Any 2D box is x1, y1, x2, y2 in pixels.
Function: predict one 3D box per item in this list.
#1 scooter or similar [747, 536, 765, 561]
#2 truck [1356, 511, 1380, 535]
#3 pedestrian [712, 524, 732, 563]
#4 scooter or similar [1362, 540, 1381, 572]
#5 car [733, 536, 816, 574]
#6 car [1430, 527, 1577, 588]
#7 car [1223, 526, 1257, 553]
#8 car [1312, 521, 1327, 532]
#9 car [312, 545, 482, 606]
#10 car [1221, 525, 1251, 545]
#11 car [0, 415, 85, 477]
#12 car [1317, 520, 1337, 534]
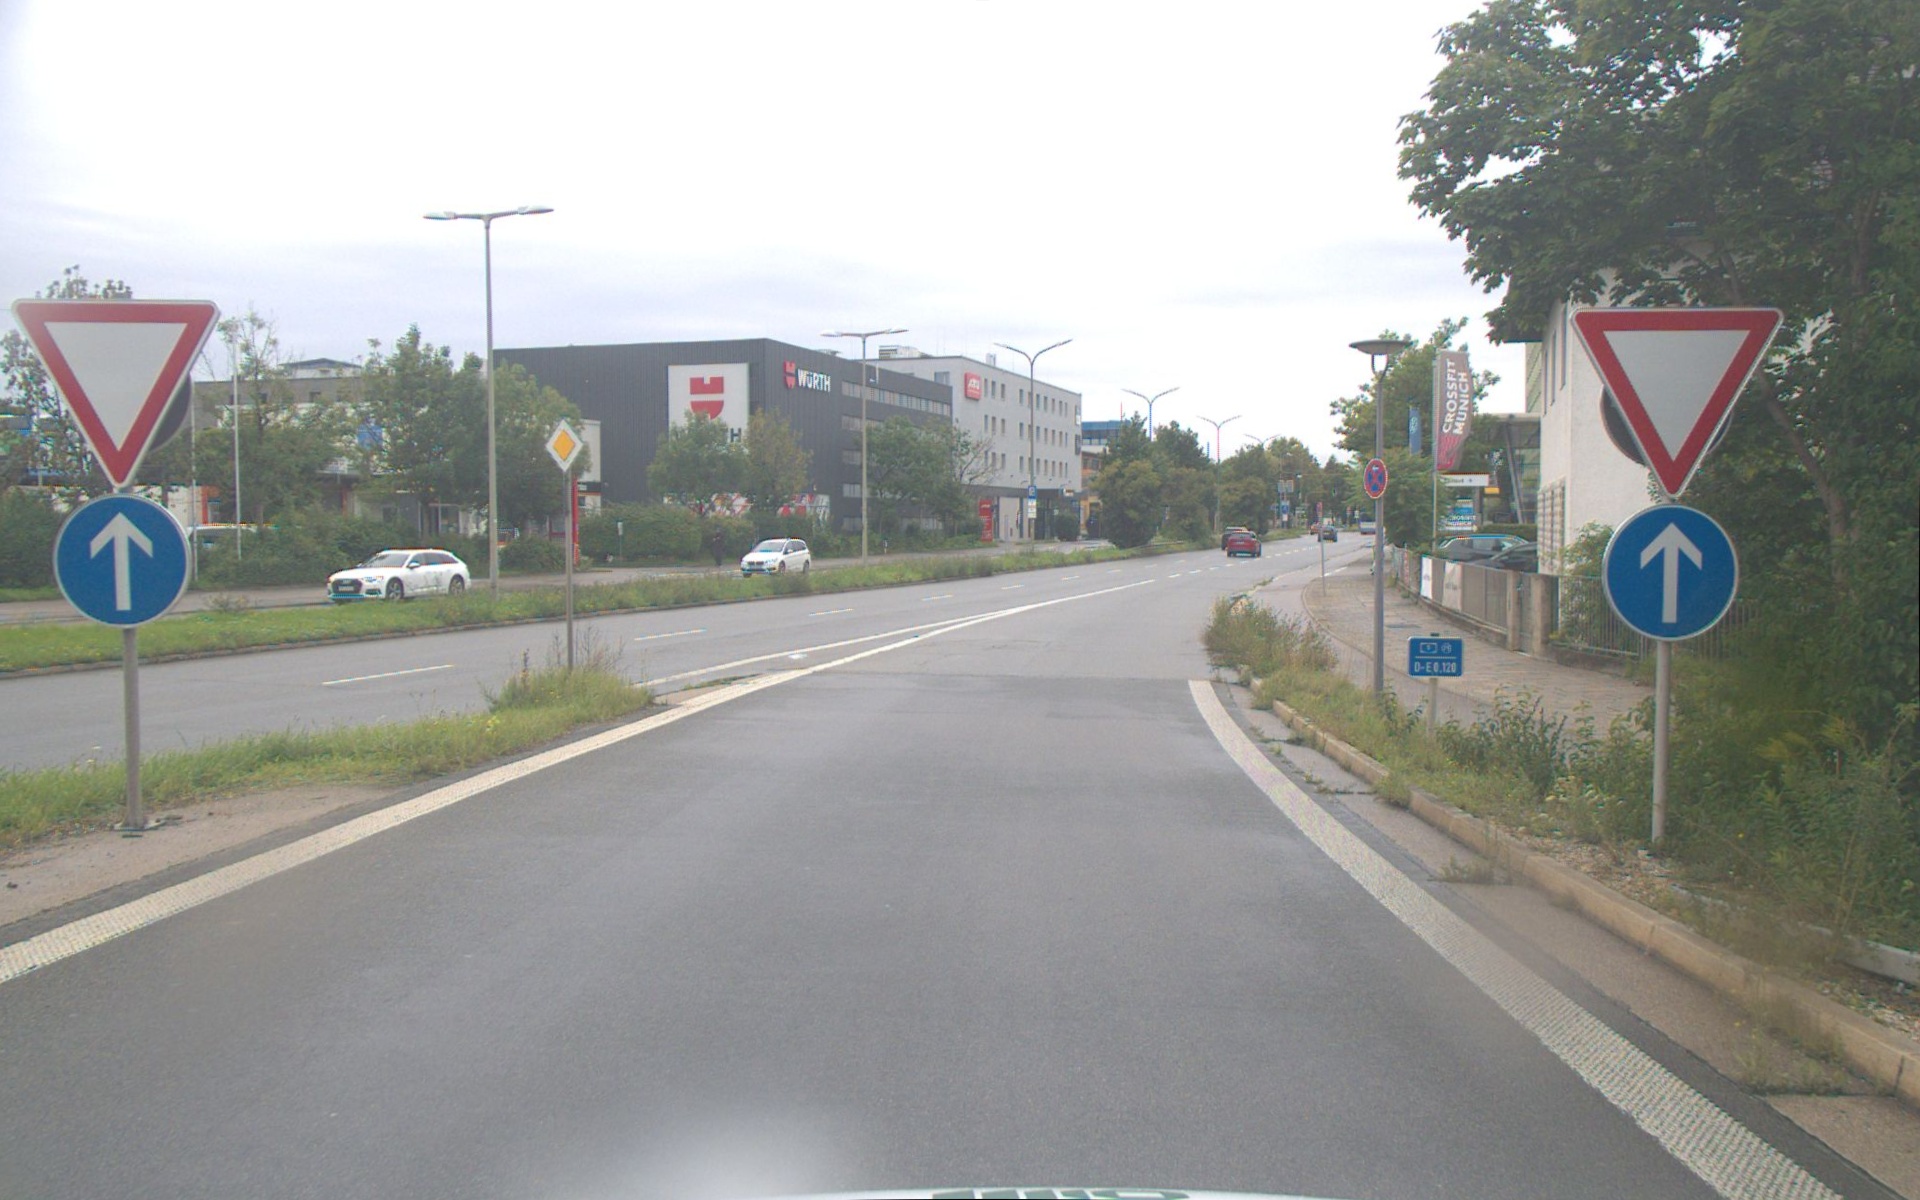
[{"bbox_3d":[-10.498,-2.647,85.236,0.436,1.248,1.389,1,3,15],"label":"scooter or similar"},{"bbox_3d":[57.055,-10.825,231.435,2.906,3.342,7.923,1,3,16],"label":"truck"},{"bbox_3d":[-11.509,-2.736,79.962,0.609,1.861,0.818,0,3,17],"label":"pedestrian"},{"bbox_3d":[16.425,-1.773,66.021,0.388,1.244,1.641,-3,1,4],"label":"scooter or similar"},{"bbox_3d":[-8.030,-1.965,72.060,1.951,1.599,4.578,0,2,17],"label":"car"},{"bbox_3d":[15.969,-1.277,48.794,4.009,1.755,1.929,1,3,15],"label":"car"},{"bbox_3d":[17.765,-3.851,104.790,1.822,1.646,4.004,1,3,14],"label":"car"},{"bbox_3d":[47.808,-9.728,220.126,1.765,1.457,4.004,1,3,15],"label":"car"},{"bbox_3d":[-15.971,-0.739,47.229,1.951,1.599,5.123,0,2,17],"label":"car"},{"bbox_3d":[20.427,-4.819,122.186,1.765,1.457,4.004,0,3,15],"label":"car"},{"bbox_3d":[-37.720,-6.130,66.182,4.682,2.049,2.136,-2,-1,18],"label":"car"},{"bbox_3d":[36.870,-7.356,166.288,1.765,1.457,4.004,1,3,15],"label":"car"}]
